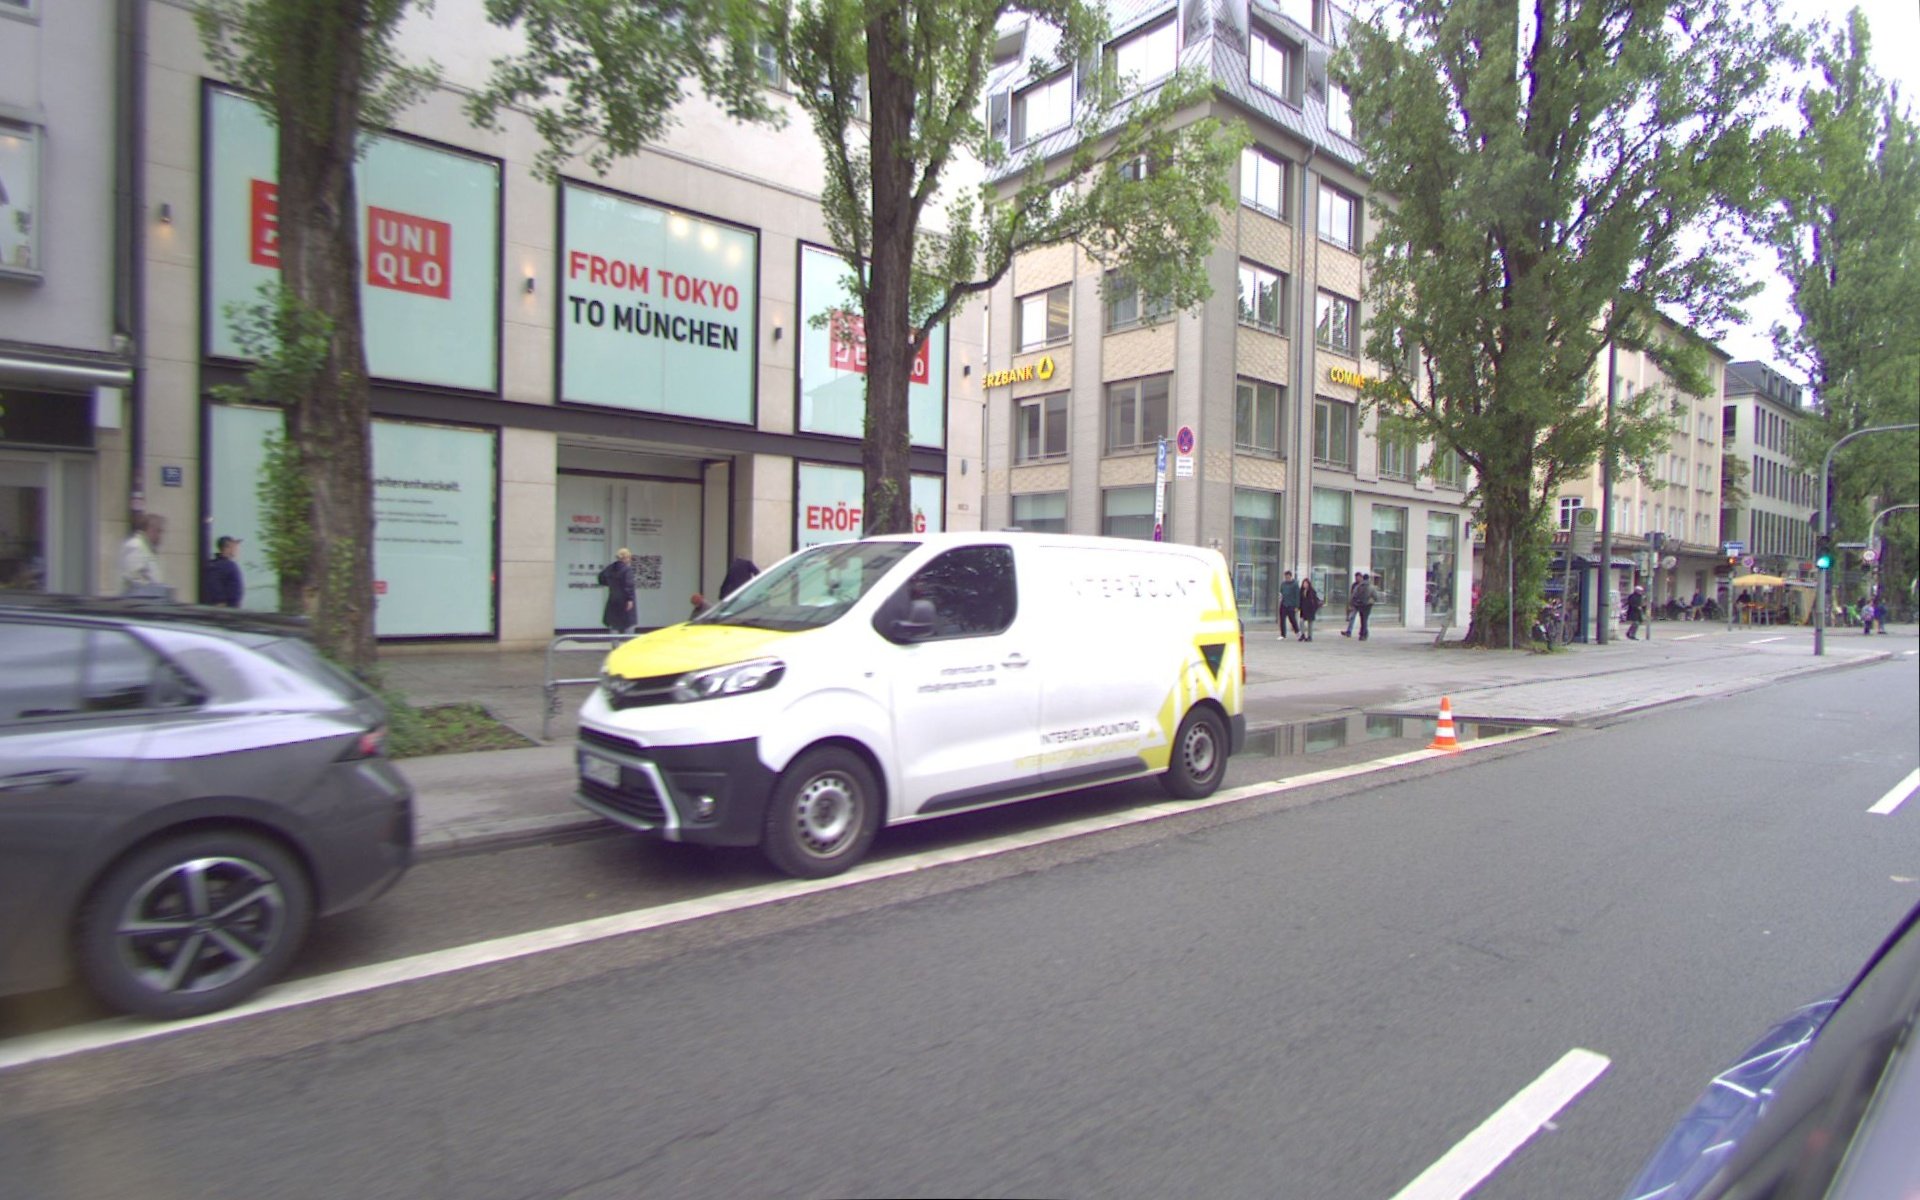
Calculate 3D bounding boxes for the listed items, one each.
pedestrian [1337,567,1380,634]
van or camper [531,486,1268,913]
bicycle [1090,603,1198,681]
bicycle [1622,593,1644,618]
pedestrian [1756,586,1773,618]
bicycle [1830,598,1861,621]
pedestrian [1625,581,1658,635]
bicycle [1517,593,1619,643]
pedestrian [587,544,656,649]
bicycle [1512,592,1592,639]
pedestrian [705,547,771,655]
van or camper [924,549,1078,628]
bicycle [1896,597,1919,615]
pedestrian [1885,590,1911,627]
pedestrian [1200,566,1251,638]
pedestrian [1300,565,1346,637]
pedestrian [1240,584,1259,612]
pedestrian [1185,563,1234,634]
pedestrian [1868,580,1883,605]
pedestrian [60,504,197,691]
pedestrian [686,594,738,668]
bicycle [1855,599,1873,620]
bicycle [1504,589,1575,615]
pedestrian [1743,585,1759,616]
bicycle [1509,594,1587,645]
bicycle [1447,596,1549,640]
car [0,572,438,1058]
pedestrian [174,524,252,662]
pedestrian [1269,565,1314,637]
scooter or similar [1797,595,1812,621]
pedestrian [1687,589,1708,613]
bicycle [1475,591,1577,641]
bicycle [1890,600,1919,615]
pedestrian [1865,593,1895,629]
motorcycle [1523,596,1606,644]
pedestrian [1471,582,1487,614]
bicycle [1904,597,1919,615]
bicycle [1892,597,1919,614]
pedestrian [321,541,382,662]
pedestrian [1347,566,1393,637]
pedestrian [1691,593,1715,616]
[{"bbox_3d":[11.193,0.009,28.425,0.875,1.840,0.819,0,1,-42],"label":"pedestrian"},{"bbox_3d":[-0.098,0.420,6.815,4.817,1.906,1.872,0,1,-41],"label":"van or camper"},{"bbox_3d":[2.766,0.603,15.359,0.475,1.057,1.763,0,1,-36],"label":"bicycle"},{"bbox_3d":[32.689,0.266,49.149,1.780,1.185,0.435,-1,0,-42],"label":"bicycle"},{"bbox_3d":[42.860,0.119,53.937,0.526,1.694,0.542,1,1,-33],"label":"pedestrian"},{"bbox_3d":[43.687,0.456,49.925,1.774,1.084,0.406,0,-4,-25],"label":"bicycle"},{"bbox_3d":[22.877,0.260,33.974,0.739,1.780,0.710,0,1,-39],"label":"pedestrian"},{"bbox_3d":[16.485,0.468,27.503,0.469,1.268,2.320,0,1,-40],"label":"bicycle"},{"bbox_3d":[-5.429,-0.062,16.246,0.669,1.629,0.817,2,1,39],"label":"pedestrian"},{"bbox_3d":[17.009,0.413,29.141,0.467,1.268,2.252,1,1,-16],"label":"bicycle"},{"bbox_3d":[-3.776,0.006,17.246,0.860,1.786,0.677,1,1,30],"label":"pedestrian"},{"bbox_3d":[0.982,-0.302,26.355,1.862,1.890,4.117,0,1,-36],"label":"van or camper"},{"bbox_3d":[64.083,0.414,68.014,1.658,1.121,0.391,2,1,39],"label":"bicycle"},{"bbox_3d":[41.913,0.362,45.217,0.850,1.630,0.766,0,1,-44],"label":"pedestrian"},{"bbox_3d":[6.493,0.034,24.716,0.945,1.698,0.752,0,1,-39],"label":"pedestrian"},{"bbox_3d":[9.163,0.010,25.549,0.844,1.779,0.752,-2,3,-39],"label":"pedestrian"},{"bbox_3d":[18.524,-0.134,64.775,0.663,1.790,1.003,0,0,-31],"label":"pedestrian"},{"bbox_3d":[6.319,-0.047,25.634,0.945,1.739,0.752,0,1,-39],"label":"pedestrian"},{"bbox_3d":[68.230,-0.549,75.387,0.889,1.874,0.658,0,1,-38],"label":"pedestrian"},{"bbox_3d":[-8.804,-0.036,10.737,1.080,1.864,0.828,0,1,-40],"label":"pedestrian"},{"bbox_3d":[-4.366,0.530,17.809,0.672,1.249,0.671,0,0,-39],"label":"pedestrian"},{"bbox_3d":[45.711,0.478,51.164,1.740,1.061,0.509,0,1,-43],"label":"bicycle"},{"bbox_3d":[29.097,0.099,50.862,0.982,1.268,2.976,0,0,-40],"label":"bicycle"},{"bbox_3d":[43.950,0.011,56.251,0.526,1.694,0.542,0,1,-33],"label":"pedestrian"},{"bbox_3d":[15.498,0.501,26.700,0.441,1.254,1.729,0,1,-38],"label":"bicycle"},{"bbox_3d":[13.726,0.432,25.872,0.859,1.030,2.153,0,1,-40],"label":"bicycle"},{"bbox_3d":[-4.145,0.653,3.065,4.279,1.460,1.721,0,0,-42],"label":"car"},{"bbox_3d":[-9.229,-0.090,12.512,0.757,1.629,0.672,0,0,-37],"label":"pedestrian"},{"bbox_3d":[8.527,0.006,26.039,0.844,1.779,0.752,-2,3,-39],"label":"pedestrian"},{"bbox_3d":[41.619,0.385,49.865,0.405,1.259,1.355,1,1,33],"label":"scooter or similar"},{"bbox_3d":[40.905,0.052,56.166,0.687,1.280,0.777,0,1,-40],"label":"pedestrian"},{"bbox_3d":[15.488,0.413,27.749,0.622,1.268,2.348,0,1,-40],"label":"bicycle"},{"bbox_3d":[61.097,0.474,64.968,1.997,0.957,0.282,2,1,42],"label":"bicycle"},{"bbox_3d":[40.298,0.491,44.340,0.608,1.536,0.768,0,2,4],"label":"pedestrian"},{"bbox_3d":[15.379,0.489,25.783,0.500,1.154,1.729,0,1,-38],"label":"motorcycle"},{"bbox_3d":[25.343,-0.112,49.446,0.437,1.577,0.584,0,0,-39],"label":"pedestrian"},{"bbox_3d":[65.296,0.431,68.599,1.864,1.149,0.335,2,1,42],"label":"bicycle"},{"bbox_3d":[60.919,0.357,64.681,1.997,1.096,0.282,2,1,41],"label":"bicycle"},{"bbox_3d":[-8.417,0.009,14.002,0.671,1.629,0.672,0,1,-35],"label":"pedestrian"},{"bbox_3d":[10.850,0.020,26.794,0.875,1.840,0.819,0,1,-42],"label":"pedestrian"},{"bbox_3d":[39.746,0.227,54.147,0.687,1.214,0.870,0,1,-39],"label":"pedestrian"}]
